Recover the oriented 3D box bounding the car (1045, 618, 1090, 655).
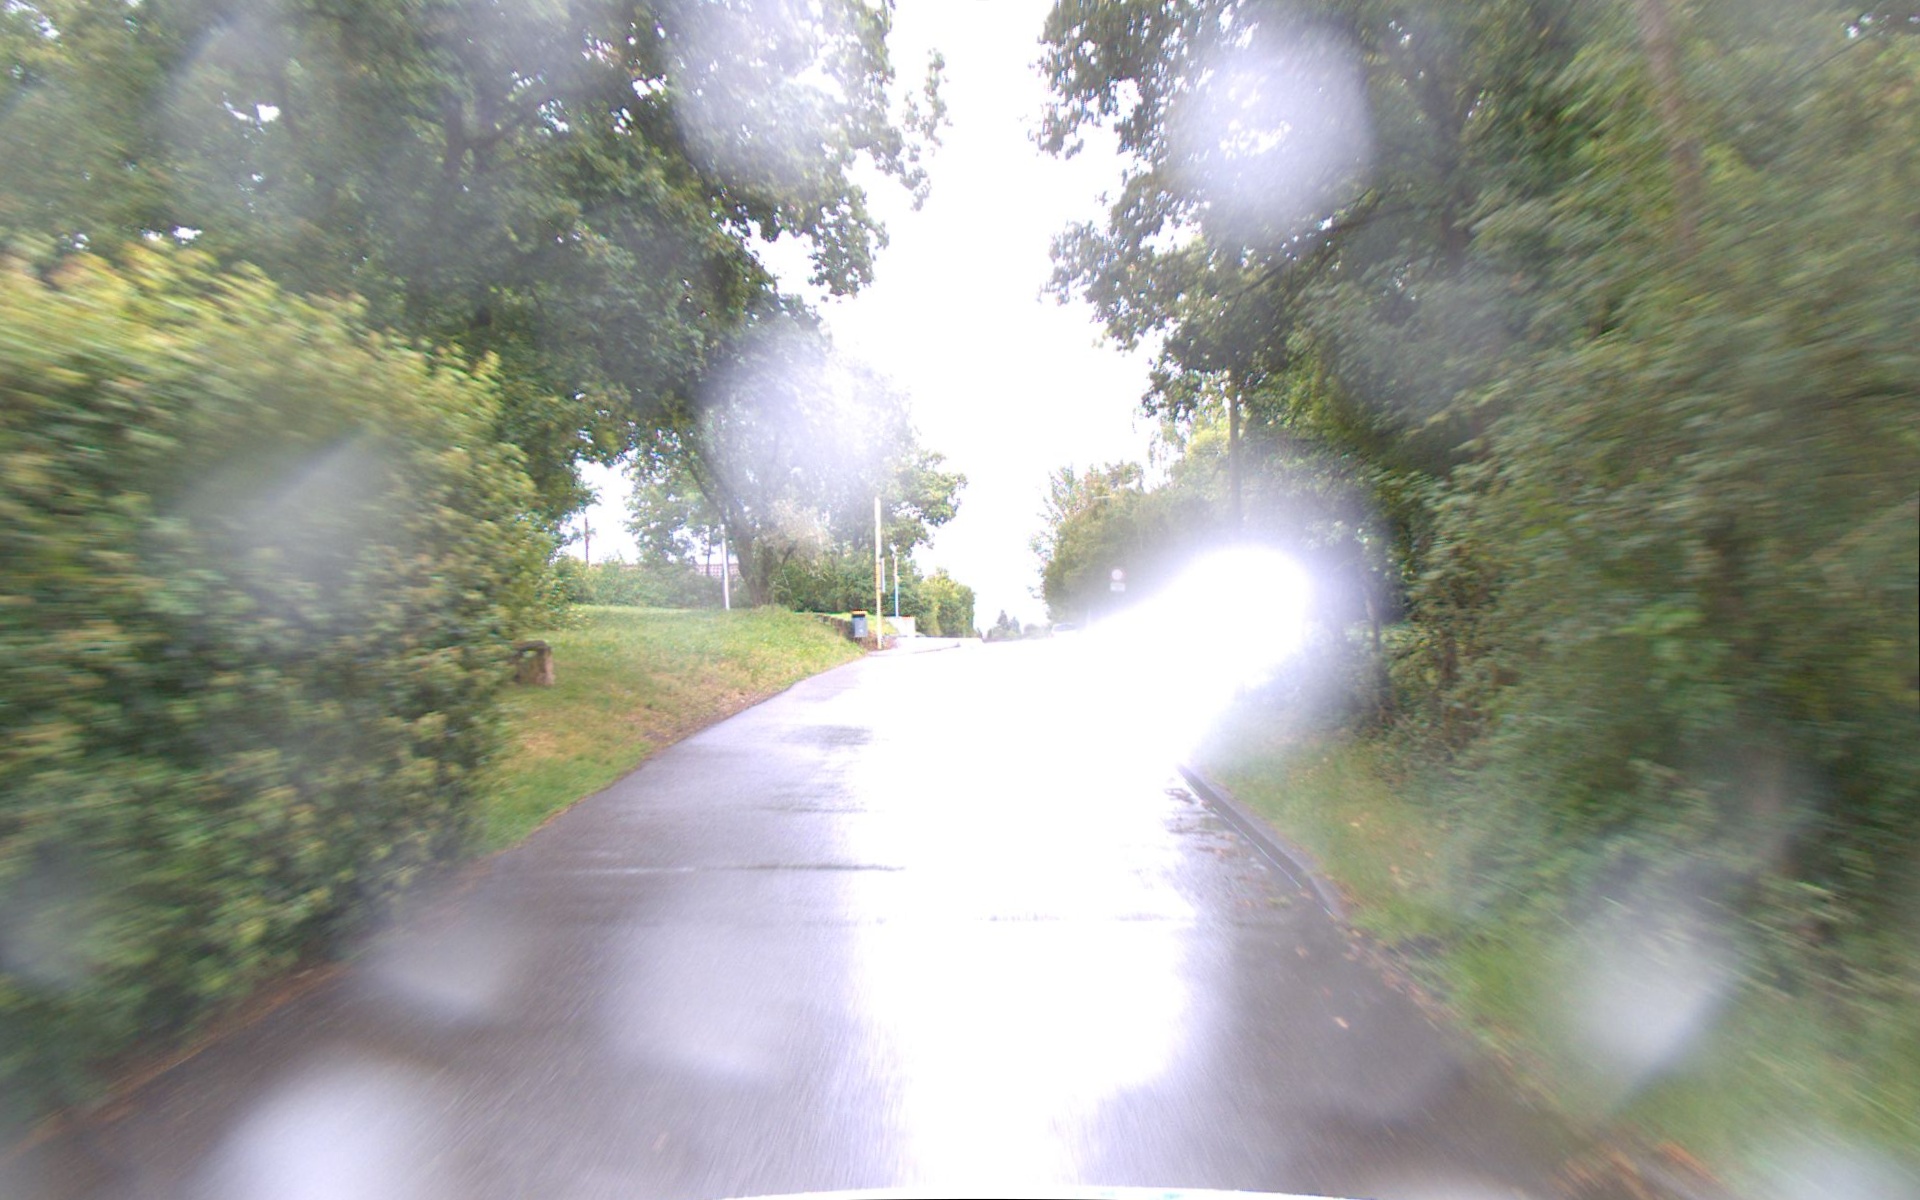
[{"bbox_3d":[5.424,1.856,82.873,1.951,1.611,4.002,-2,-4,8],"label":"car"}]
